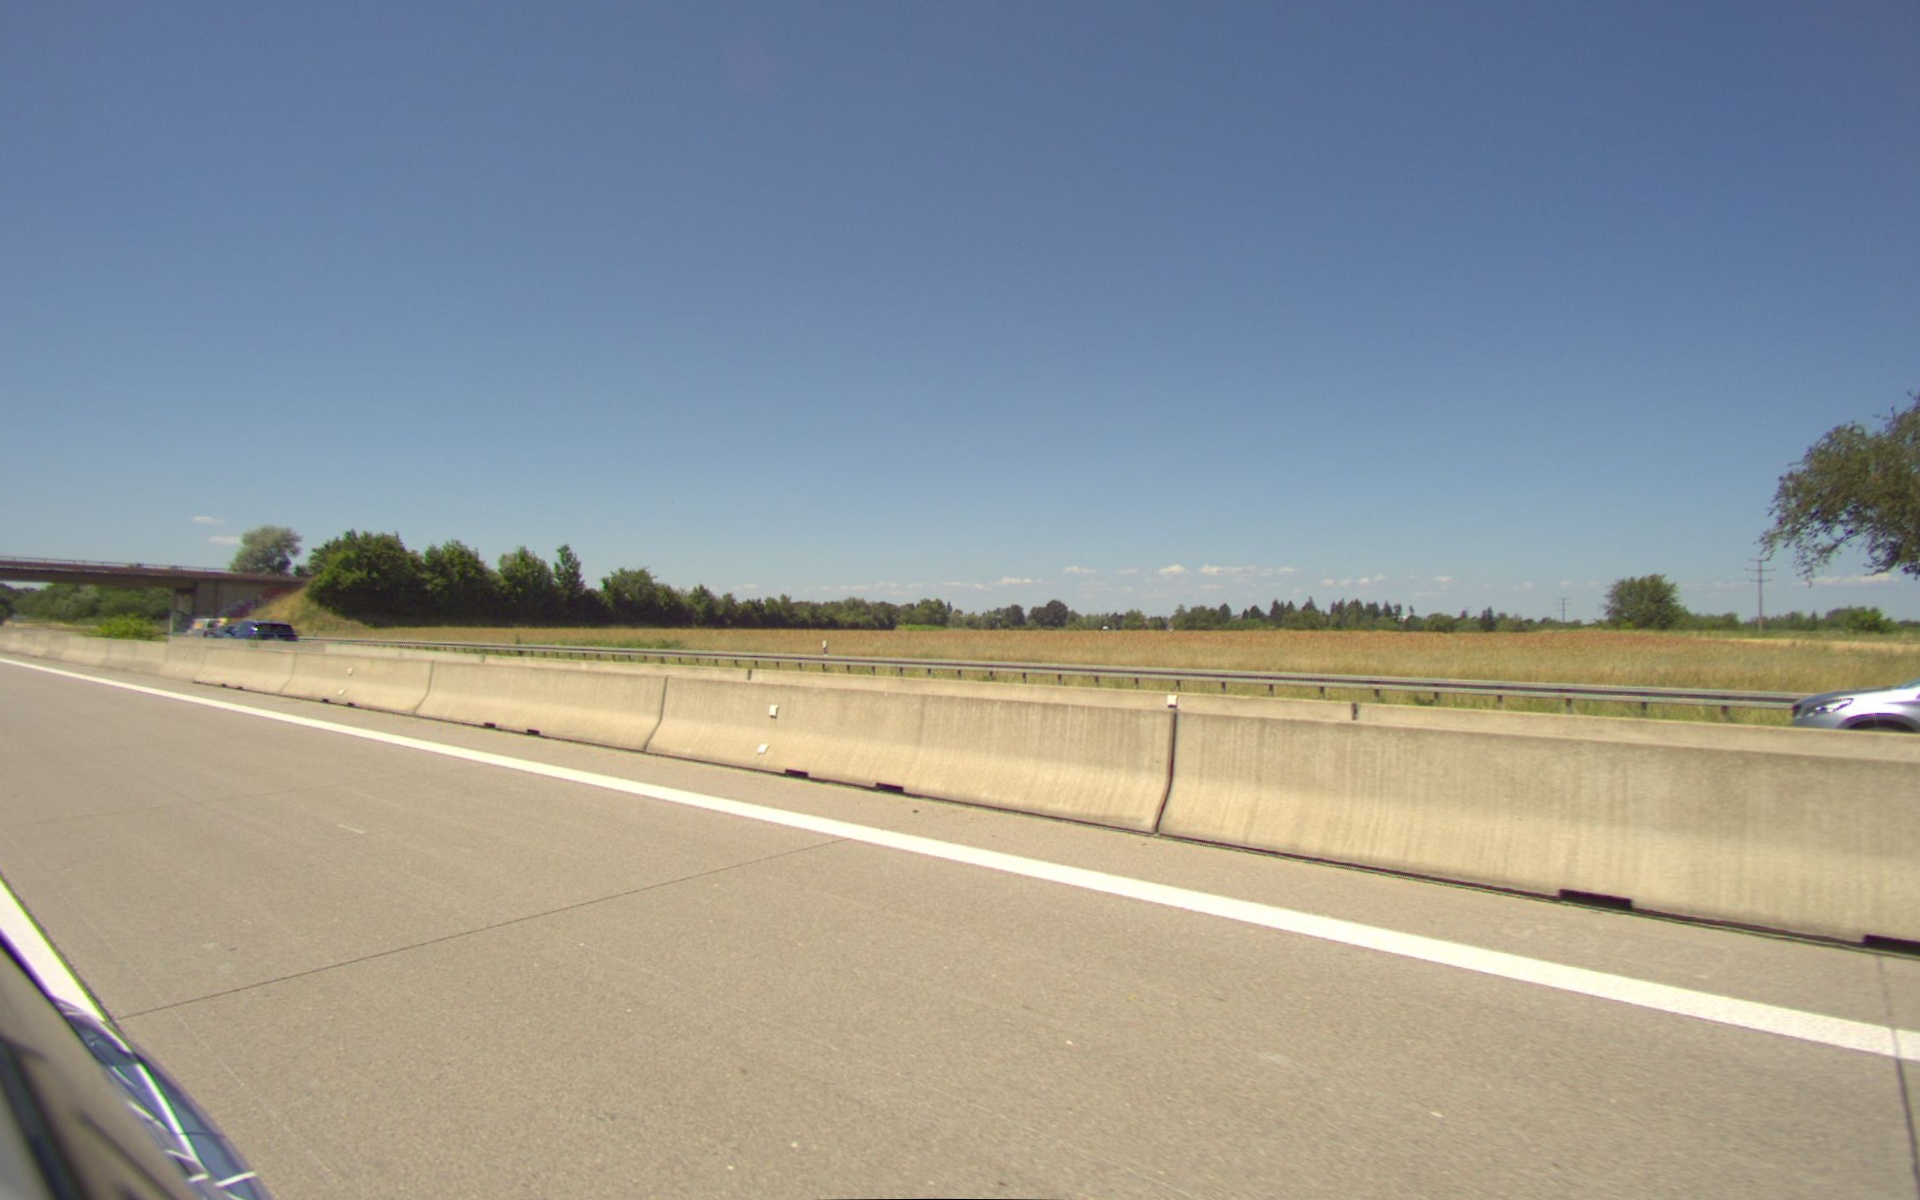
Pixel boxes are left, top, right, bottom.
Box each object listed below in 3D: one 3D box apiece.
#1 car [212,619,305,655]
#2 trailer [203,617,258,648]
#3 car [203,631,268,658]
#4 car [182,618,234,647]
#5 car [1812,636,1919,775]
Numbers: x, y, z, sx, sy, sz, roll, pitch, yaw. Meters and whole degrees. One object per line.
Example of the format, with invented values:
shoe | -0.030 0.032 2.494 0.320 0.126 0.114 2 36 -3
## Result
car | -26.398 1.361 38.035 4.674 1.249 1.753 -1 0 41
trailer | -49.804 2.182 69.043 5.610 2.058 1.791 -1 0 41
car | -39.537 2.399 55.186 5.039 1.370 1.695 -1 0 40
car | -54.049 2.306 72.720 5.562 1.959 1.846 -1 0 41
car | 11.820 1.113 10.210 4.903 1.383 1.718 -1 0 40
